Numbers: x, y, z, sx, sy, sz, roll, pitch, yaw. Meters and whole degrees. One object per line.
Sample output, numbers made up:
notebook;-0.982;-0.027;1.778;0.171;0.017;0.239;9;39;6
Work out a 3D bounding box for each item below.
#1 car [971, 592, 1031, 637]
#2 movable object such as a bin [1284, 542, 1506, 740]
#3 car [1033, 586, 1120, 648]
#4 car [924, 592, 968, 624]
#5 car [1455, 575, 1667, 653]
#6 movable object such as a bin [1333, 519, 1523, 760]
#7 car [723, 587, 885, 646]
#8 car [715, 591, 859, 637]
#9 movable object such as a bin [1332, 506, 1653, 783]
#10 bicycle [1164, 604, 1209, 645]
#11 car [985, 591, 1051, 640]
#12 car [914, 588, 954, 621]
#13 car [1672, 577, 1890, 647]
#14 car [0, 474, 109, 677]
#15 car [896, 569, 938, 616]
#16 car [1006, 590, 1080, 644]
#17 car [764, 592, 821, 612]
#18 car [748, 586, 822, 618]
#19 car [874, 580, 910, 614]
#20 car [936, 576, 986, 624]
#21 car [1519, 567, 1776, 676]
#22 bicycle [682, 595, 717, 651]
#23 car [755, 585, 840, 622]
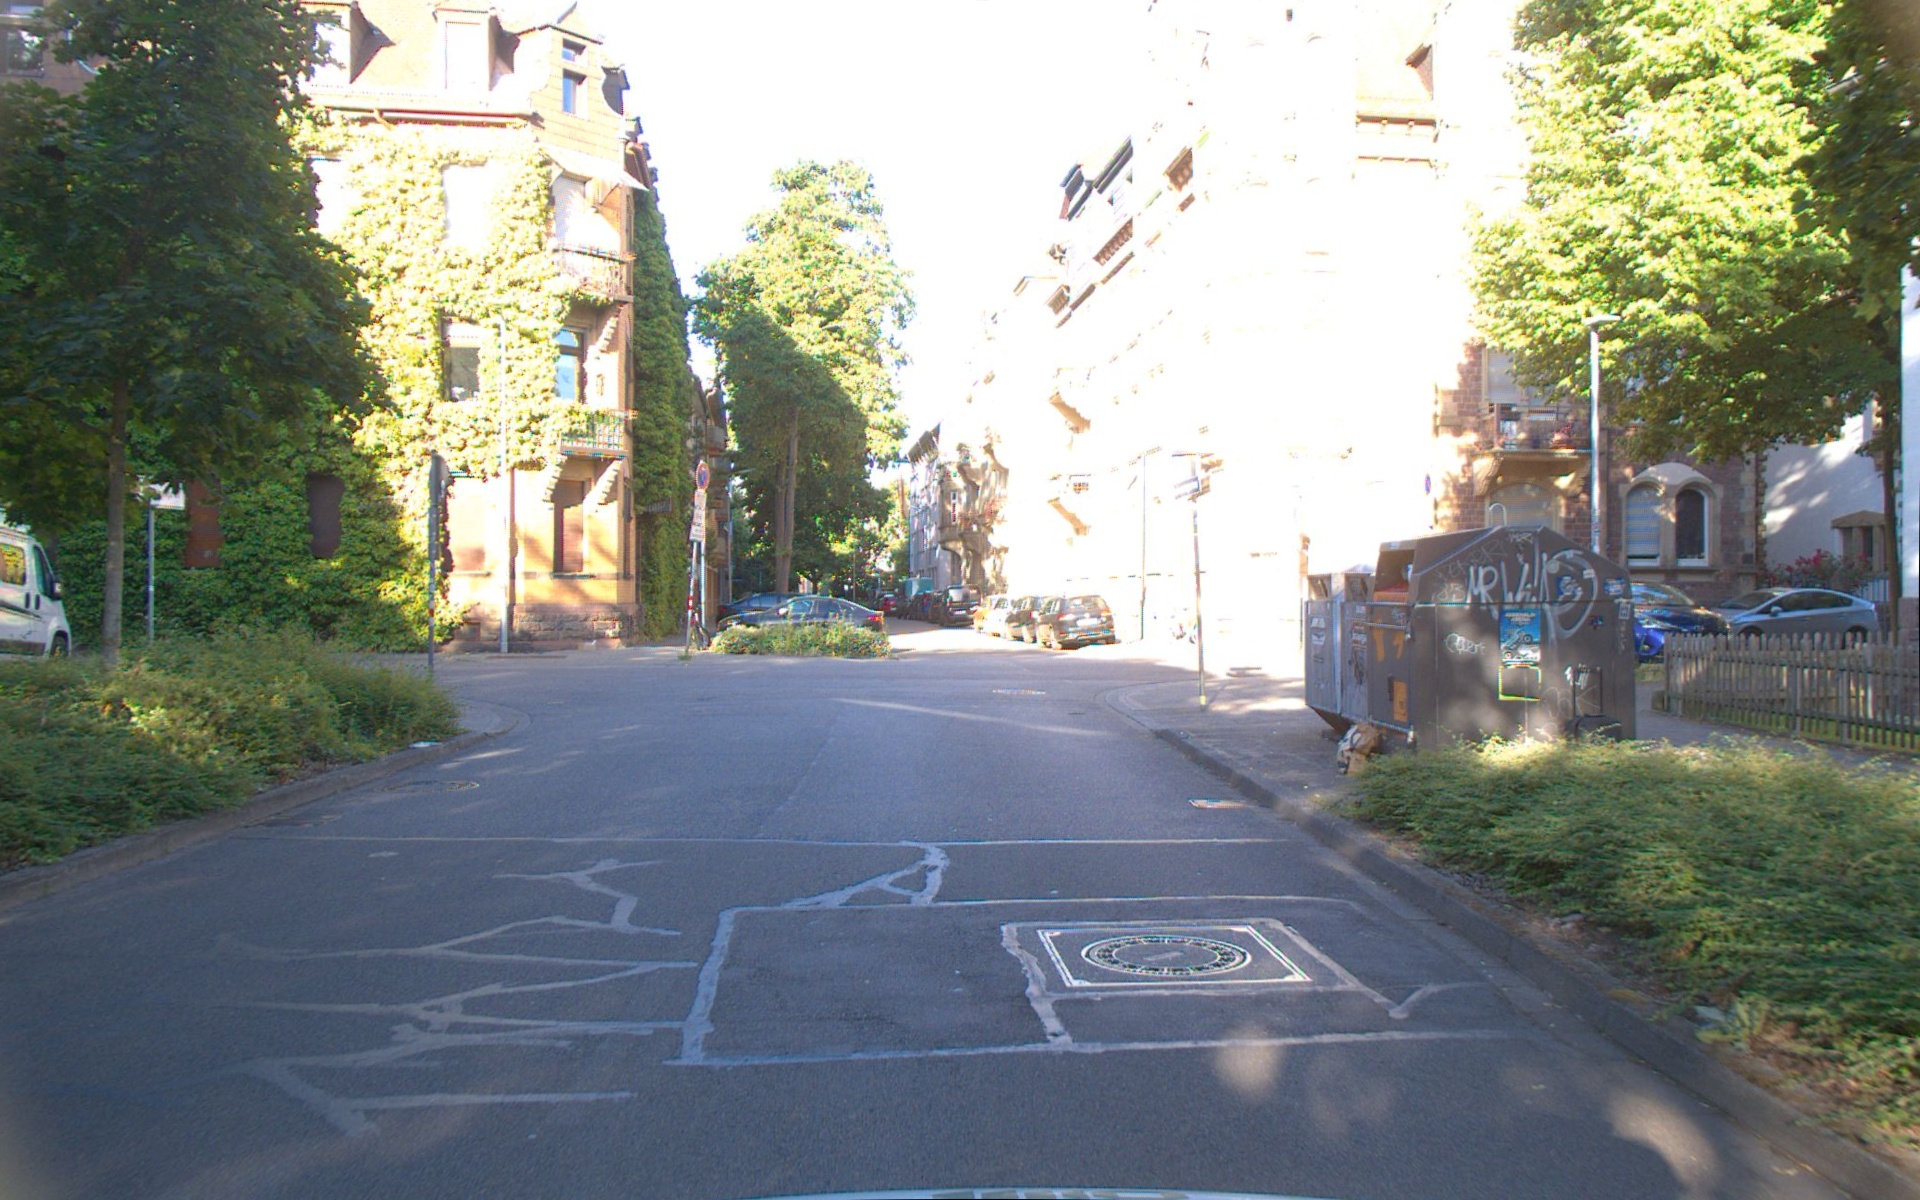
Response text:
car;1.513;0.528;61.877;1.704;1.609;3.994;1;0;-6
movable object such as a bin;3.929;0.360;15.133;1.554;1.686;1.639;1;0;-2
car;3.172;0.452;45.737;1.704;1.609;3.994;1;0;-6
car;-0.709;0.405;82.403;1.768;1.541;3.994;1;0;-6
car;13.478;0.306;37.181;4.169;1.650;1.731;1;1;-11
movable object such as a bin;3.808;0.309;13.593;1.124;1.859;1.386;1;0;-2
car;-4.156;0.429;43.797;4.164;1.460;1.996;1;0;-9
car;-5.871;0.463;55.960;4.744;1.460;1.707;1;0;-9
movable object such as a bin;3.847;0.312;12.146;1.881;1.886;1.393;1;0;-2
bicycle;5.778;0.609;42.314;0.506;1.015;1.568;1;0;-18
car;1.975;0.525;57.121;1.704;1.609;3.994;1;0;-6
car;-1.421;0.250;89.367;1.768;1.708;3.994;1;0;-6
car;18.827;0.248;37.981;4.361;1.525;1.731;0;1;-11
car;-13.897;-0.340;22.798;2.191;2.660;5.619;1;0;-10
car;-2.628;-0.460;99.574;2.124;2.738;4.784;1;0;-6
car;2.575;0.523;52.131;1.704;1.609;3.994;1;0;-6
car;-11.247;0.154;111.090;3.731;1.262;1.707;1;0;-9
car;-9.021;0.096;85.212;3.731;1.603;1.707;1;0;-9
car;-4.822;-0.220;116.554;2.124;2.276;4.784;1;0;-6
car;0.030;0.004;74.228;1.768;2.039;3.994;1;0;-6
car;10.839;0.371;26.426;1.957;1.583;3.989;1;-2;-10
bicycle;-6.193;0.535;39.365;0.551;1.290;1.603;-1;0;1
car;-7.453;0.157;75.531;3.732;1.603;1.706;1;0;-11
